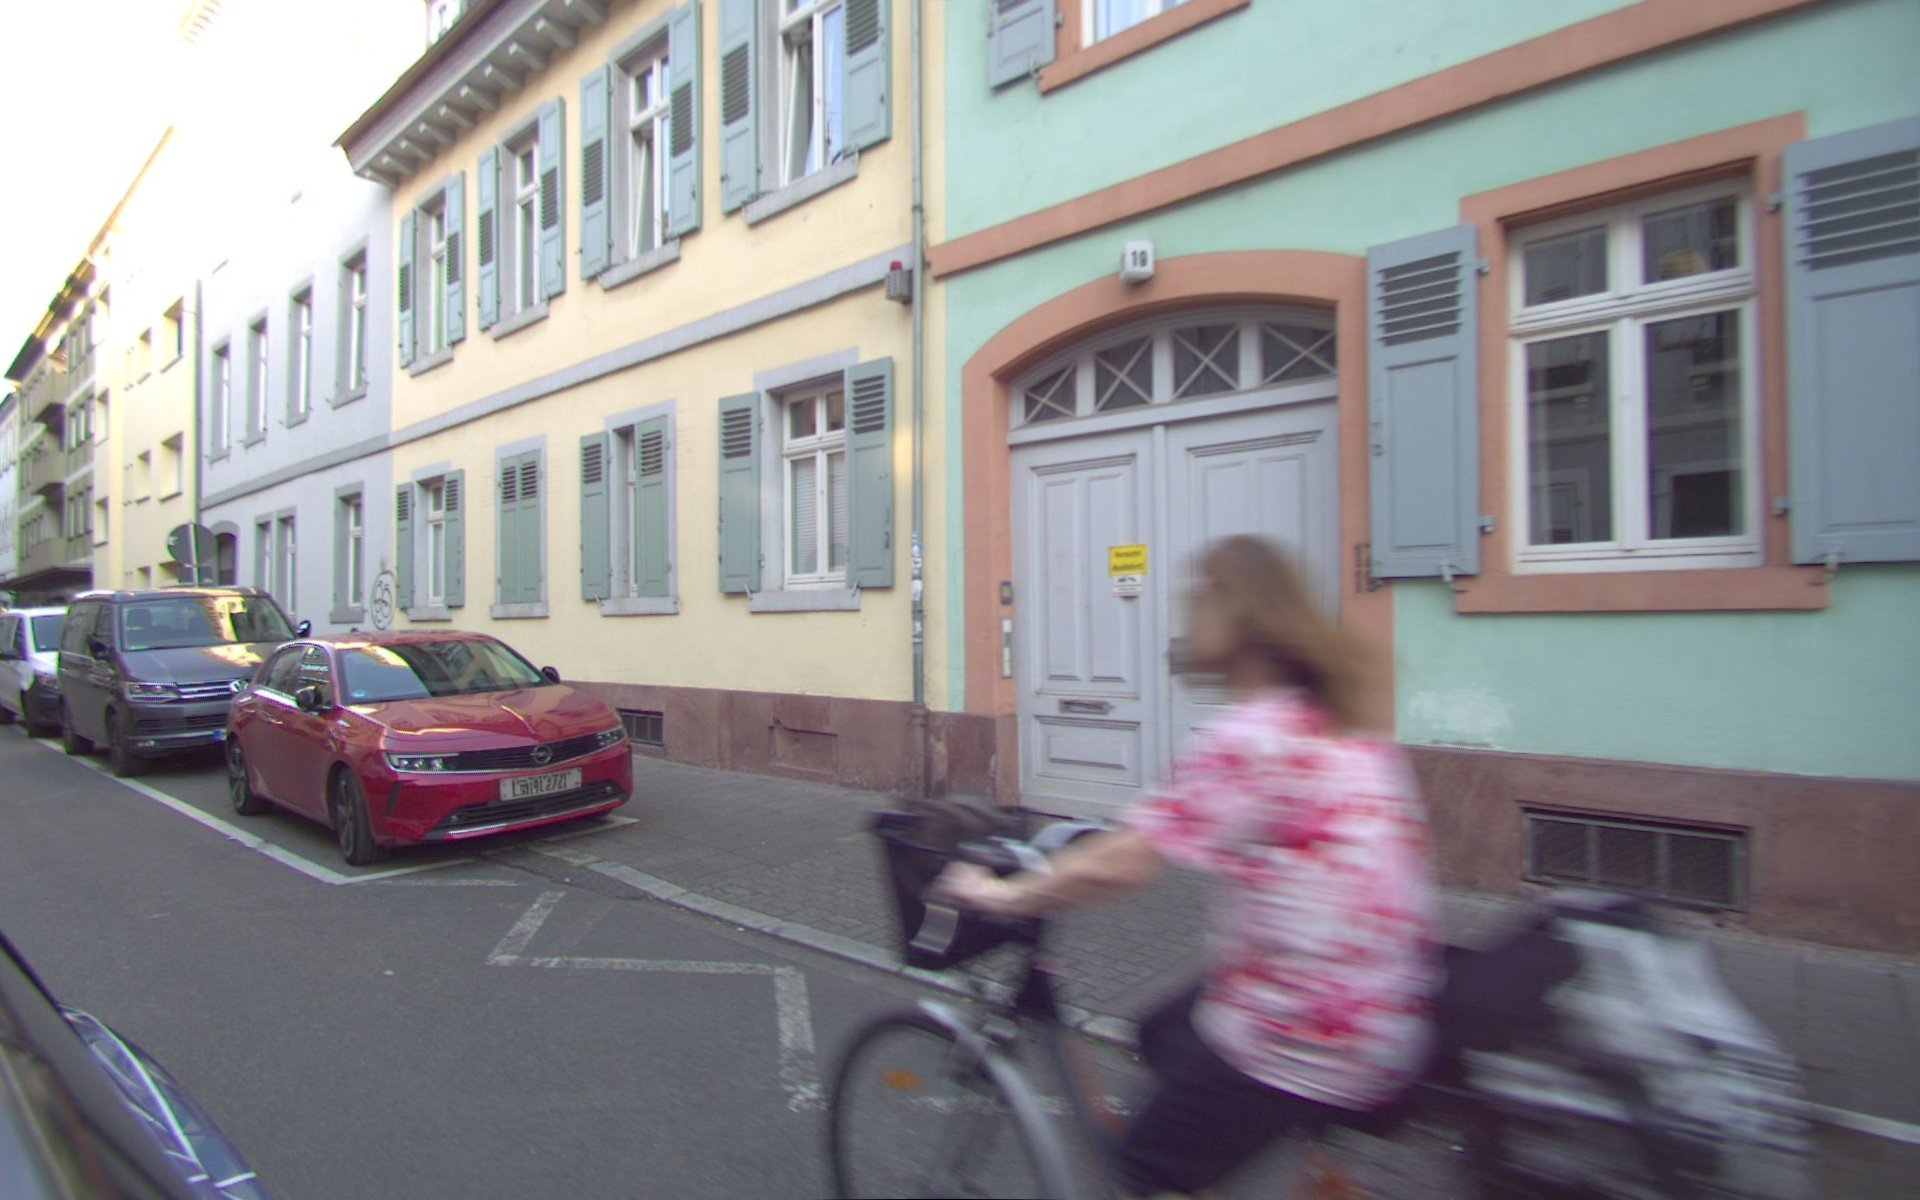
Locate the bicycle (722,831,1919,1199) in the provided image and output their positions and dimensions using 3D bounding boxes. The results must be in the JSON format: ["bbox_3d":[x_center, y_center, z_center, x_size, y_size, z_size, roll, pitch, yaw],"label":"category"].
[{"bbox_3d":[0.476,0.958,1.366,1.886,0.939,0.607,-2,-2,43],"label":"bicycle"}]

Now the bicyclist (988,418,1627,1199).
[{"bbox_3d":[0.474,0.526,1.379,0.621,1.380,0.599,-2,-2,44],"label":"bicyclist"}]

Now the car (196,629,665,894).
[{"bbox_3d":[-4.148,0.945,7.588,4.261,1.412,1.746,-2,-2,42],"label":"car"}]

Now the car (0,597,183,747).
[{"bbox_3d":[-14.175,1.059,16.071,5.102,2.029,1.843,-2,-2,40],"label":"car"}]

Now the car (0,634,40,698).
[{"bbox_3d":[-23.829,1.602,24.652,3.519,1.459,1.645,-2,1,41],"label":"car"}]

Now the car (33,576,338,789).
[{"bbox_3d":[-9.230,0.864,11.899,4.810,2.029,1.843,-2,-2,40],"label":"car"}]
